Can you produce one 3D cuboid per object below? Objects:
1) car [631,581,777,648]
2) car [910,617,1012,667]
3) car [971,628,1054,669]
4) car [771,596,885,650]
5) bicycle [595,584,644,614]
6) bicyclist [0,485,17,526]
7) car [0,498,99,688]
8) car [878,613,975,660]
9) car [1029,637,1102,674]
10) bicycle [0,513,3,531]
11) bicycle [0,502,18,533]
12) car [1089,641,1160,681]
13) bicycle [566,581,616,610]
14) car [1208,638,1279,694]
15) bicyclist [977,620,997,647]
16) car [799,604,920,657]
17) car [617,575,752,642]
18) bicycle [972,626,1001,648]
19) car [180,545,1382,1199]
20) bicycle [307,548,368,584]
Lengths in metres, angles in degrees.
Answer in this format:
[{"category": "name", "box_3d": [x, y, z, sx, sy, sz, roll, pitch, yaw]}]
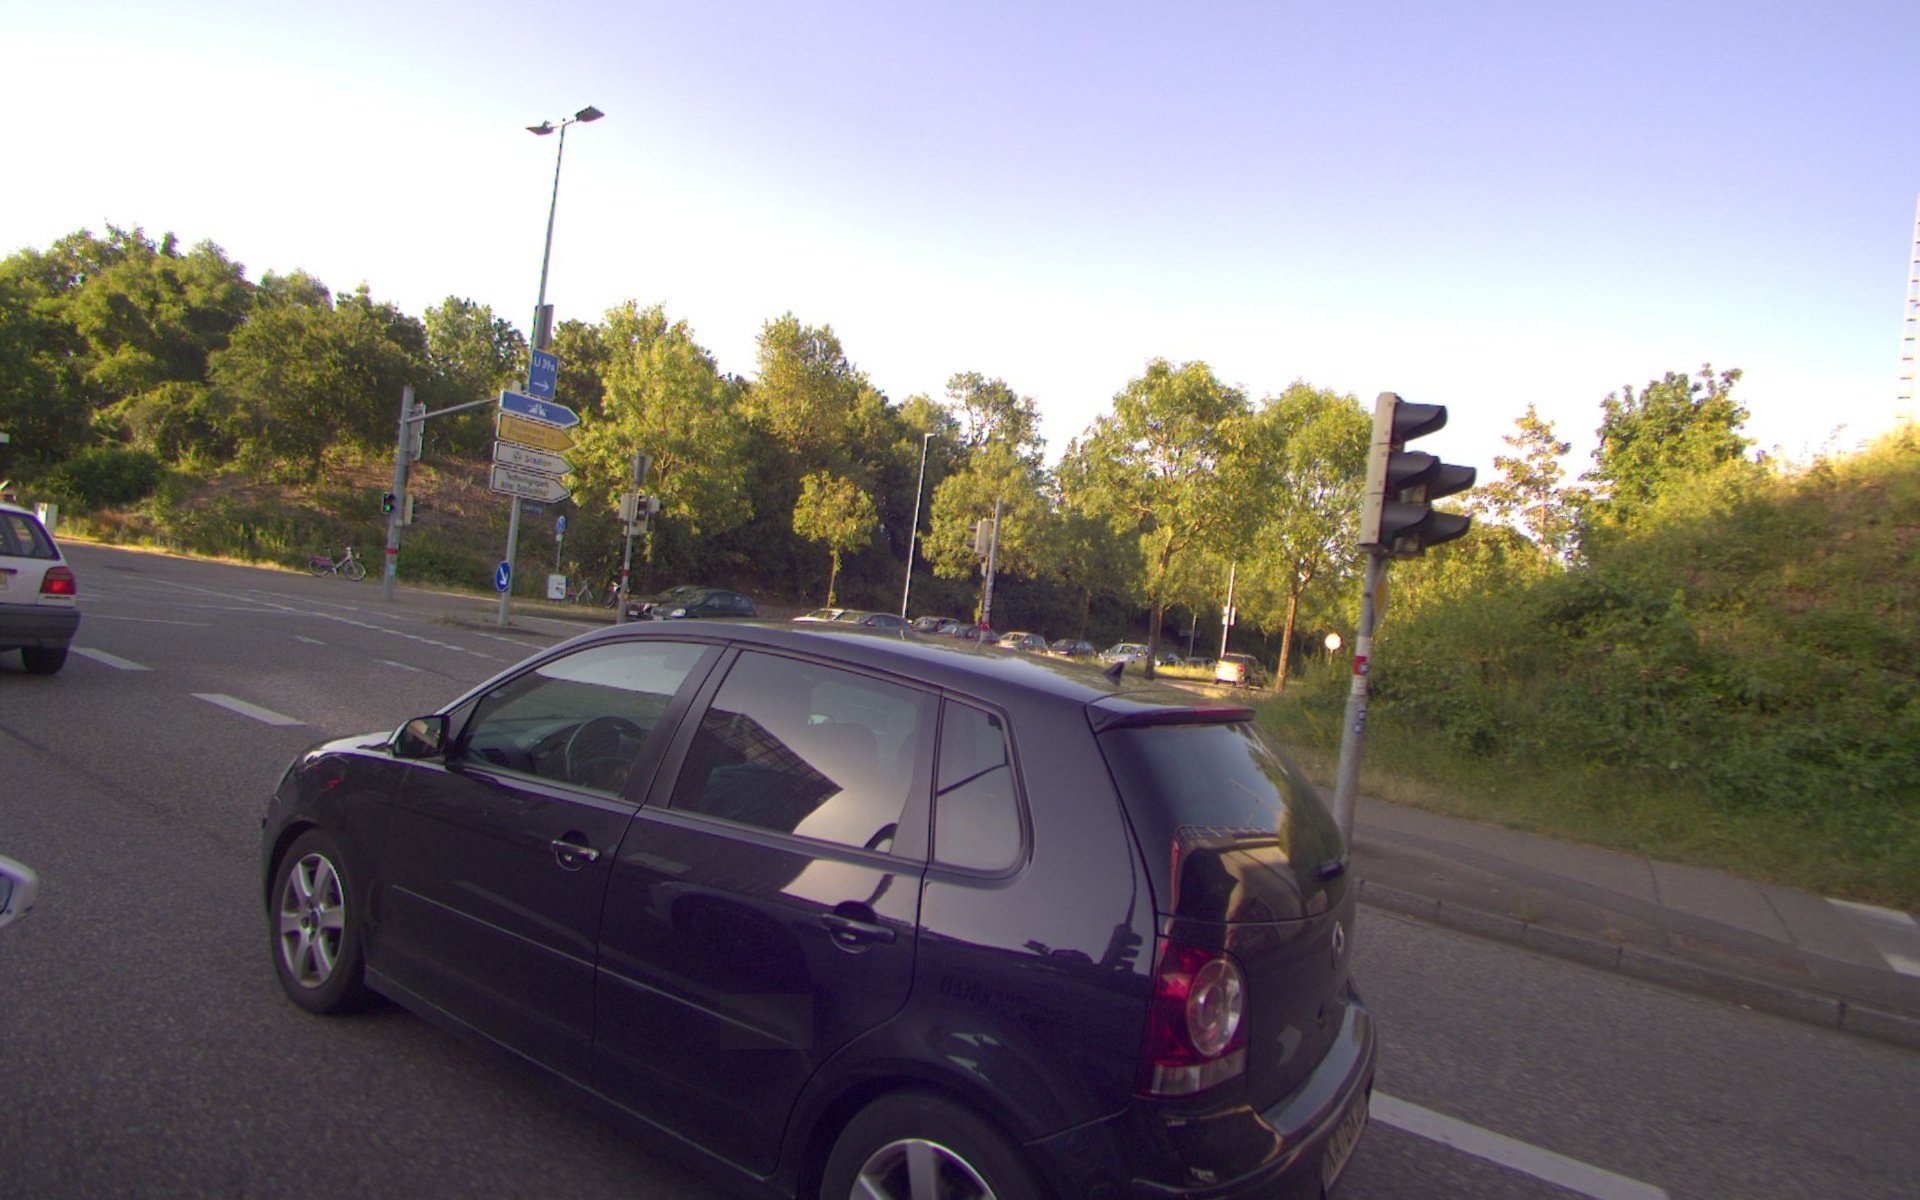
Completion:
[{"category": "car", "box_3d": [-8.016, 0.495, 31.760, 1.971, 1.547, 3.989, 5, -3, 38]}, {"category": "car", "box_3d": [0.098, 1.826, 43.090, 2.011, 1.585, 4.330, 5, -3, 38]}, {"category": "car", "box_3d": [2.750, 2.534, 51.716, 2.011, 1.585, 4.330, 5, -3, 38]}, {"category": "car", "box_3d": [-5.280, 0.951, 40.782, 2.011, 1.585, 4.330, 5, -3, 38]}, {"category": "bicycle", "box_3d": [-14.341, -0.019, 42.418, 1.788, 0.991, 0.631, 10, -2, -44]}, {"category": "bicyclist", "box_3d": [-30.795, -3.050, 32.392, 0.452, 1.248, 0.428, 6, 0, 32]}, {"category": "car", "box_3d": [-9.161, -0.247, 8.502, 3.995, 1.429, 1.582, 6, -3, 31]}, {"category": "car", "box_3d": [-1.471, 1.686, 45.946, 2.011, 1.585, 4.330, 5, -3, 38]}, {"category": "car", "box_3d": [5.980, 3.138, 56.800, 2.011, 1.585, 4.330, 5, -3, 38]}, {"category": "bicycle", "box_3d": [-33.748, -2.600, 34.909, 1.010, 0.925, 0.438, 6, -2, 32]}, {"category": "bicycle", "box_3d": [-30.772, -2.663, 32.338, 1.010, 0.926, 0.437, 6, 1, 32]}, {"category": "car", "box_3d": [8.084, 3.012, 49.281, 1.860, 1.547, 3.994, 6, -3, 33]}, {"category": "bicycle", "box_3d": [-15.650, -0.183, 42.670, 1.788, 0.991, 0.631, 10, -3, -44]}, {"category": "car", "box_3d": [13.541, 3.179, 47.916, 1.968, 2.203, 3.994, 6, -3, 34]}, {"category": "bicyclist", "box_3d": [1.731, 2.135, 64.011, 0.780, 1.612, 0.859, 6, -2, 32]}, {"category": "car", "box_3d": [-3.698, 1.169, 37.709, 2.011, 1.423, 4.330, 5, -4, 38]}, {"category": "car", "box_3d": [-9.280, 0.319, 34.121, 1.835, 1.712, 3.989, 5, -3, 38]}, {"category": "bicycle", "box_3d": [1.699, 2.370, 64.020, 0.808, 1.124, 2.017, 6, -3, 31]}, {"category": "car", "box_3d": [-0.758, 0.743, 3.295, 3.623, 1.425, 1.619, 5, -3, 33]}, {"category": "bicycle", "box_3d": [-21.380, -1.149, 34.564, 1.656, 1.004, 0.571, 7, 2, -42]}]
